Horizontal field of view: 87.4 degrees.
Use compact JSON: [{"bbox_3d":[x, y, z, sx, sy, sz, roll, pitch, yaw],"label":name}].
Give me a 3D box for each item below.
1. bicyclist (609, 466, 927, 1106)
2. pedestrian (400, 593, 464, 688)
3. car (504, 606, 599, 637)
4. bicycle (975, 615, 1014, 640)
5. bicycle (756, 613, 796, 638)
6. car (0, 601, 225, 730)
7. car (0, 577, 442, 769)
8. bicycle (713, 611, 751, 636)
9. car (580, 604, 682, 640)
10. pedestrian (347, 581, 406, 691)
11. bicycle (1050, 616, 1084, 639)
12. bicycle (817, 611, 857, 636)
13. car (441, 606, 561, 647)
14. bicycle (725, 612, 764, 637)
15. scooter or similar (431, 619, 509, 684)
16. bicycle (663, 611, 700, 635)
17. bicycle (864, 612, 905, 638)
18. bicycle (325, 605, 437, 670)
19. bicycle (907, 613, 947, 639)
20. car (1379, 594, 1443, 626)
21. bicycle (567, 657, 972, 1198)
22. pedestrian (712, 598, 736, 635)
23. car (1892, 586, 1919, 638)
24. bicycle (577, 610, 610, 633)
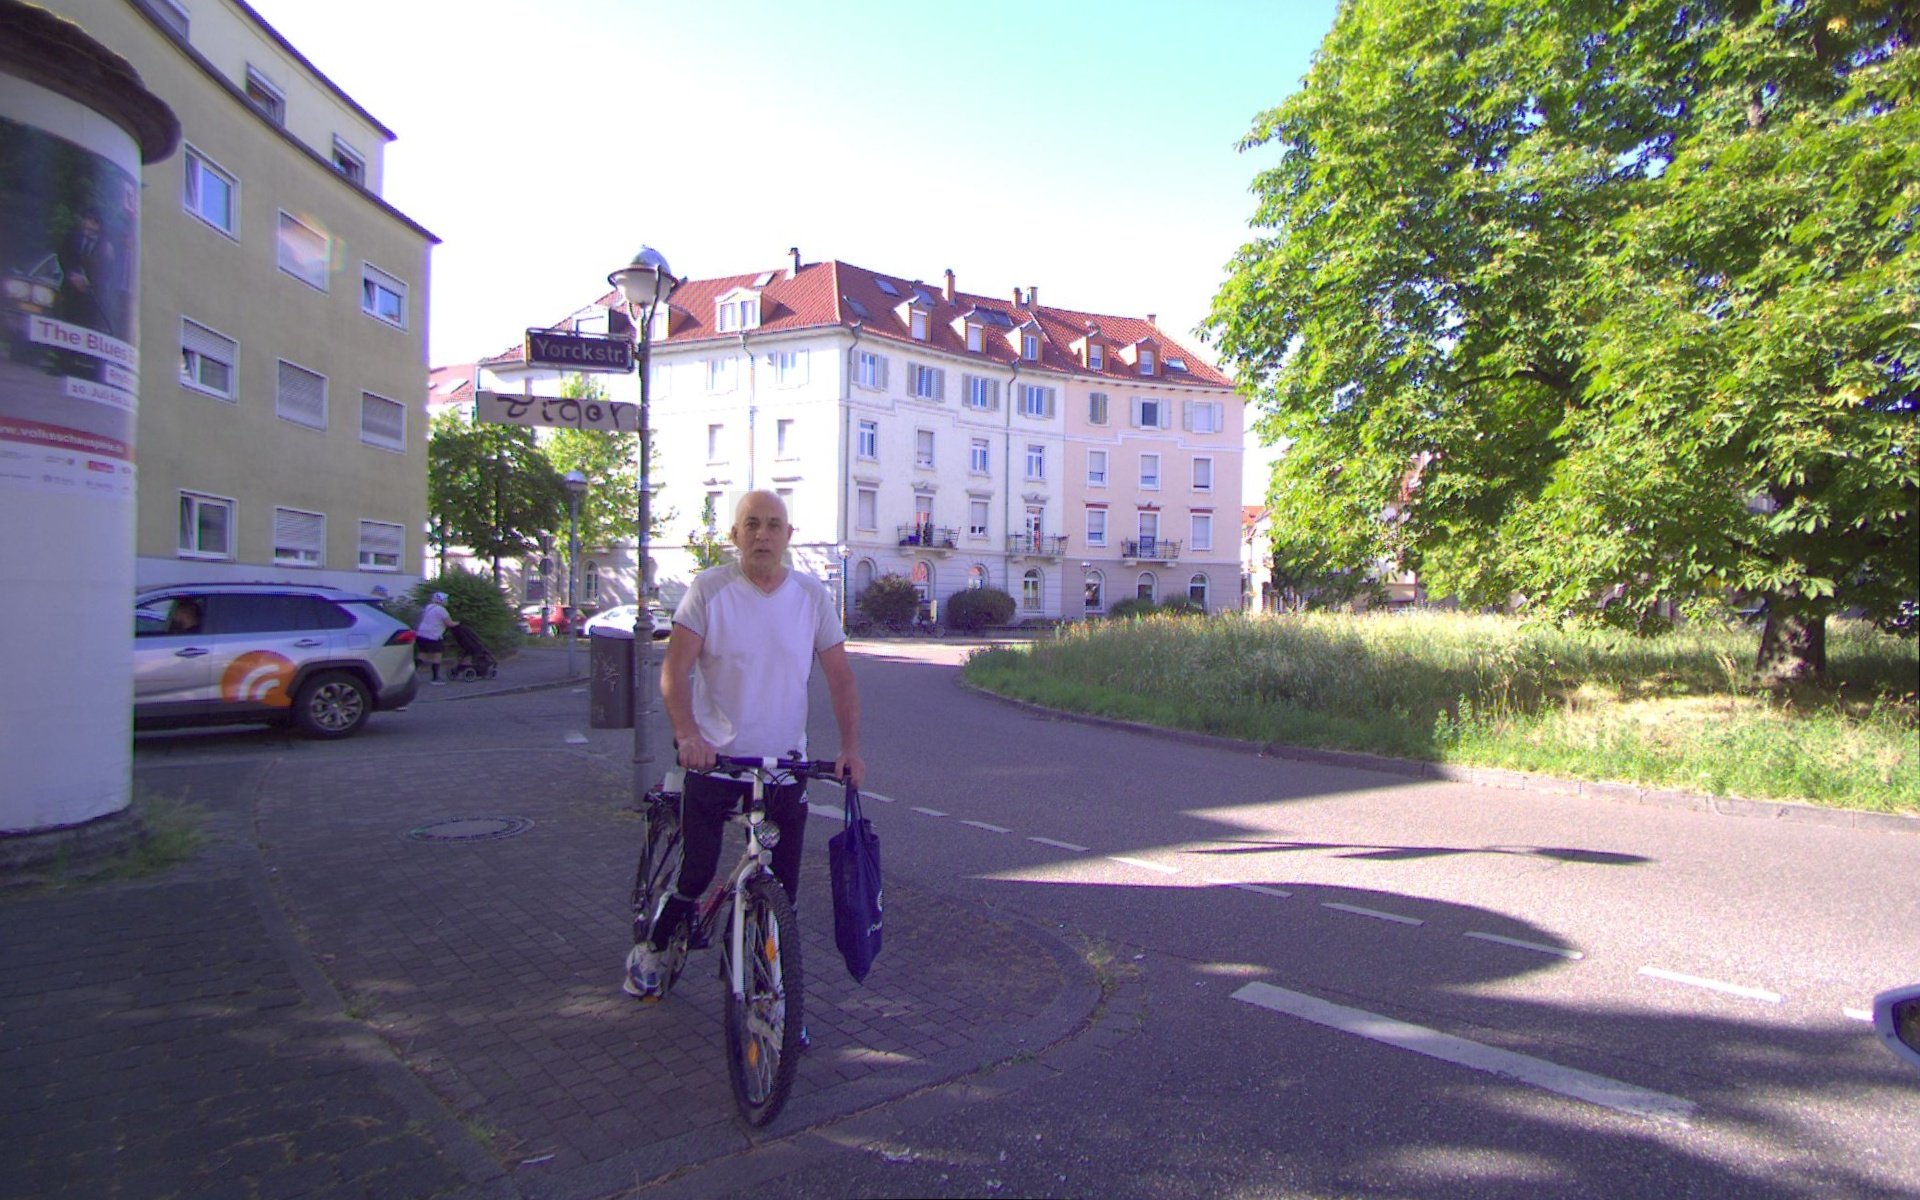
[{"bbox_3d":[-0.643,0.506,3.245,0.756,1.718,0.805,1,0,-32],"label":"bicyclist"},{"bbox_3d":[-8.981,0.668,17.094,0.639,1.544,0.695,5,3,33],"label":"pedestrian"},{"bbox_3d":[-18.088,0.934,44.510,3.646,1.272,1.799,0,0,22],"label":"car"},{"bbox_3d":[1.682,1.357,49.266,1.772,1.139,0.568,3,-1,-19],"label":"bicycle"},{"bbox_3d":[-8.501,1.172,46.388,1.765,1.139,0.570,0,0,20],"label":"bicycle"},{"bbox_3d":[-11.316,0.727,11.665,4.449,1.430,1.714,1,-1,-38],"label":"car"},{"bbox_3d":[-8.059,0.648,10.303,1.706,1.651,4.597,0,-1,38],"label":"car"},{"bbox_3d":[-11.053,1.135,48.667,1.765,1.139,0.570,0,0,20],"label":"bicycle"},{"bbox_3d":[-14.079,0.929,42.948,3.923,1.431,1.799,0,0,23],"label":"car"},{"bbox_3d":[-9.487,0.568,16.327,0.545,1.716,0.607,5,3,33],"label":"pedestrian"},{"bbox_3d":[5.433,1.394,50.861,1.663,1.103,0.499,1,2,-25],"label":"bicycle"},{"bbox_3d":[-5.643,1.086,46.201,1.770,1.122,0.498,1,0,-16],"label":"bicycle"},{"bbox_3d":[-17.124,0.944,37.485,3.921,1.430,1.804,0,0,20],"label":"car"},{"bbox_3d":[-10.179,1.158,47.421,1.765,1.139,0.570,0,0,20],"label":"bicycle"},{"bbox_3d":[-8.723,0.898,17.882,0.902,1.037,0.896,5,3,33],"label":"scooter or similar"},{"bbox_3d":[-13.871,1.135,49.987,1.765,1.139,0.570,0,0,20],"label":"bicycle"},{"bbox_3d":[-3.468,1.161,46.367,1.772,1.139,0.568,3,-1,-19],"label":"bicycle"},{"bbox_3d":[-10.593,0.663,18.433,0.491,1.122,1.798,0,0,27],"label":"bicycle"},{"bbox_3d":[-1.549,1.231,47.230,1.780,1.139,0.566,3,-1,-32],"label":"bicycle"},{"bbox_3d":[28.622,0.657,63.938,2.099,1.934,4.562,1,-1,2],"label":"car"},{"bbox_3d":[-0.774,0.853,3.443,0.756,1.214,1.854,1,0,-31],"label":"bicycle"},{"bbox_3d":[-10.903,0.778,46.433,0.731,1.683,0.774,1,0,20],"label":"pedestrian"},{"bbox_3d":[49.973,0.660,49.626,2.061,2.635,6.378,2,1,3],"label":"car"},{"bbox_3d":[-19.112,1.122,52.345,1.767,1.157,0.570,0,0,28],"label":"bicycle"}]
